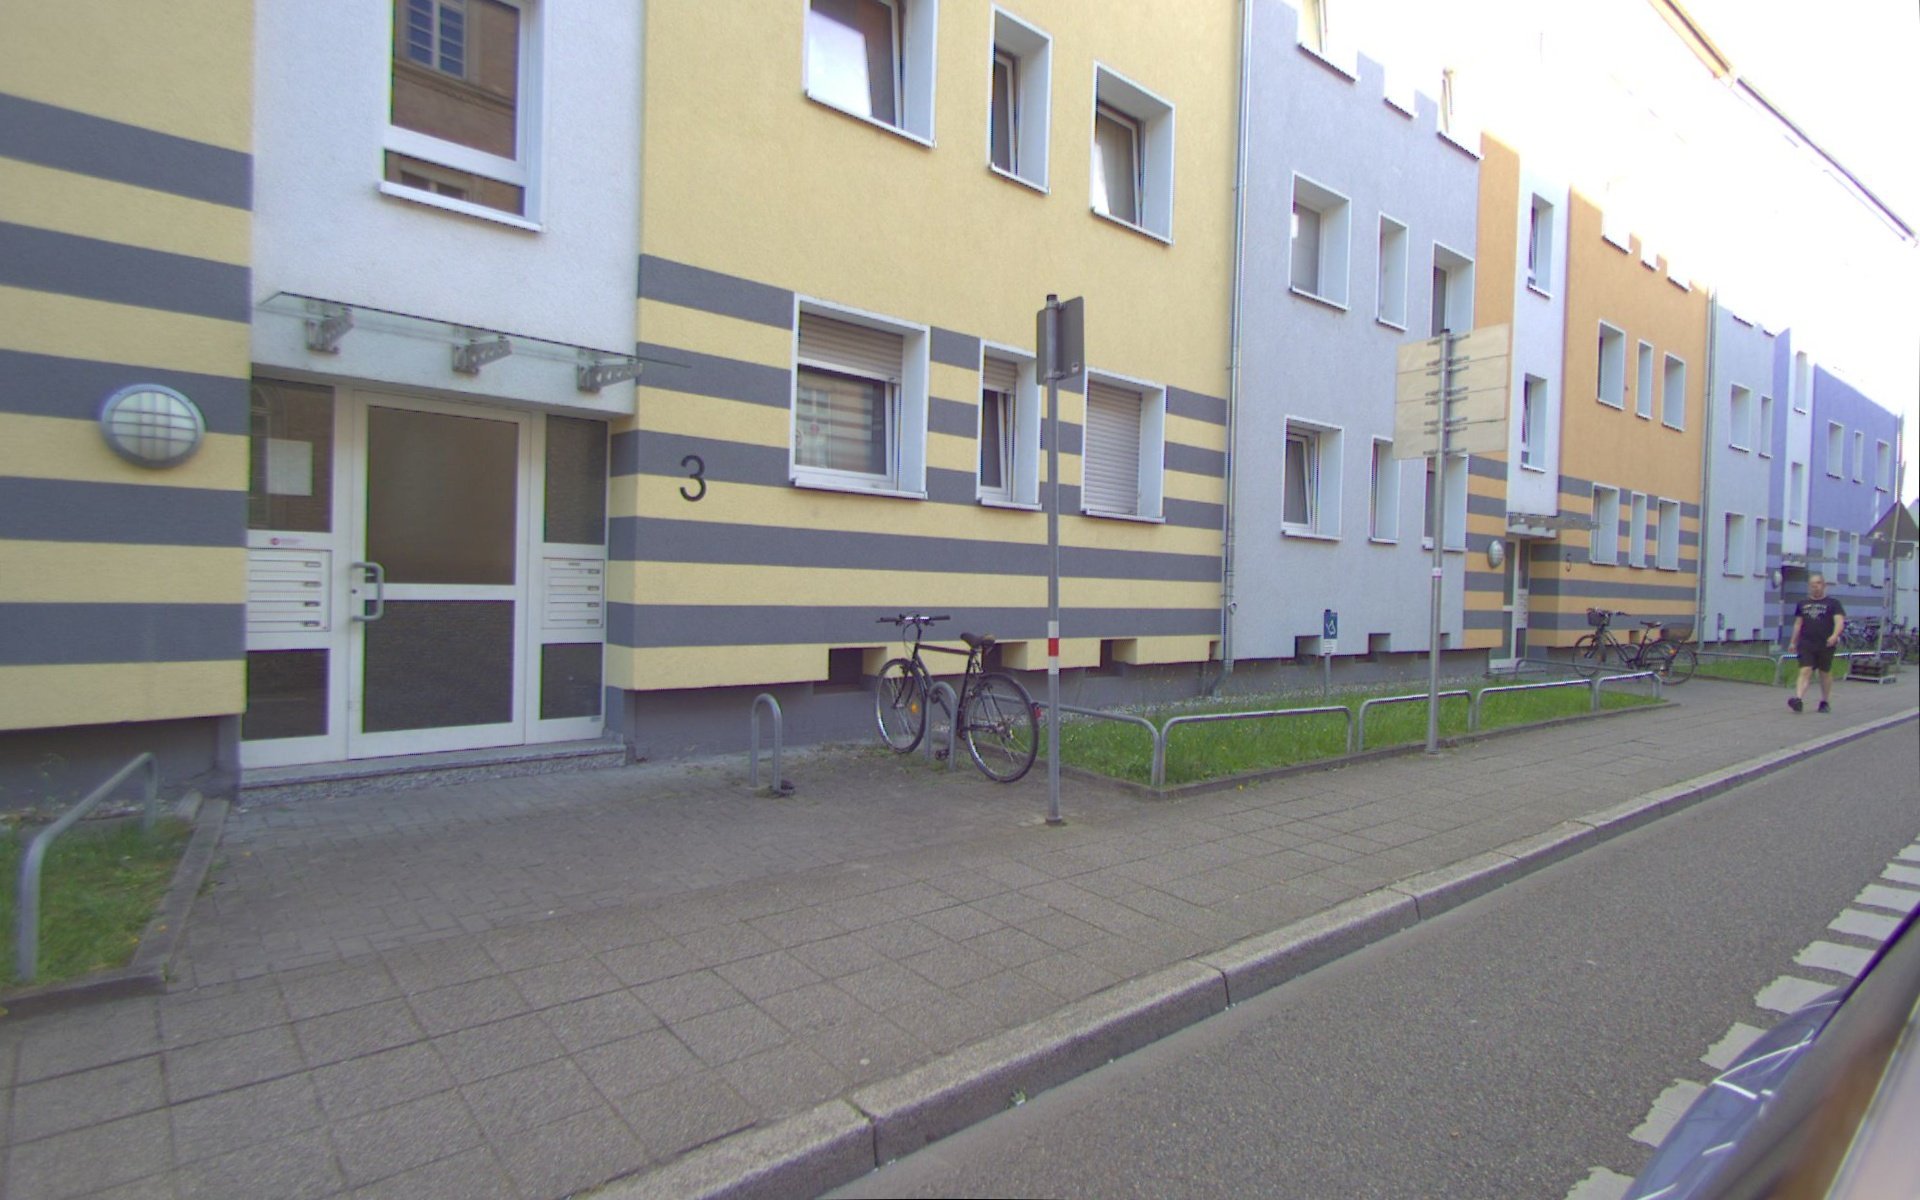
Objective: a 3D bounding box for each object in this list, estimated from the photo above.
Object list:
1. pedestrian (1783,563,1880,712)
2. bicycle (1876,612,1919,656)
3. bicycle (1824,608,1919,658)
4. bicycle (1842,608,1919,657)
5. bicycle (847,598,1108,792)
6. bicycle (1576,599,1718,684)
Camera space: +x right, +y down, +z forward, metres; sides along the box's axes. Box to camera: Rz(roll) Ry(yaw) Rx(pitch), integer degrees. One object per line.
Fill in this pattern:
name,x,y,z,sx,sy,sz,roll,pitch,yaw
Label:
pedestrian,11.212,0.455,13.026,0.898,1.810,0.646,1,4,-38
bicycle,24.145,0.875,25.330,0.625,1.048,1.709,1,2,-42
bicycle,22.284,0.788,24.682,0.624,1.058,1.711,1,2,-39
bicycle,23.251,0.811,25.279,0.625,1.095,1.711,1,2,-40
bicycle,0.053,0.576,7.055,0.625,1.074,1.946,1,2,-42
bicycle,10.745,0.618,15.877,0.625,1.173,1.709,1,2,-42
